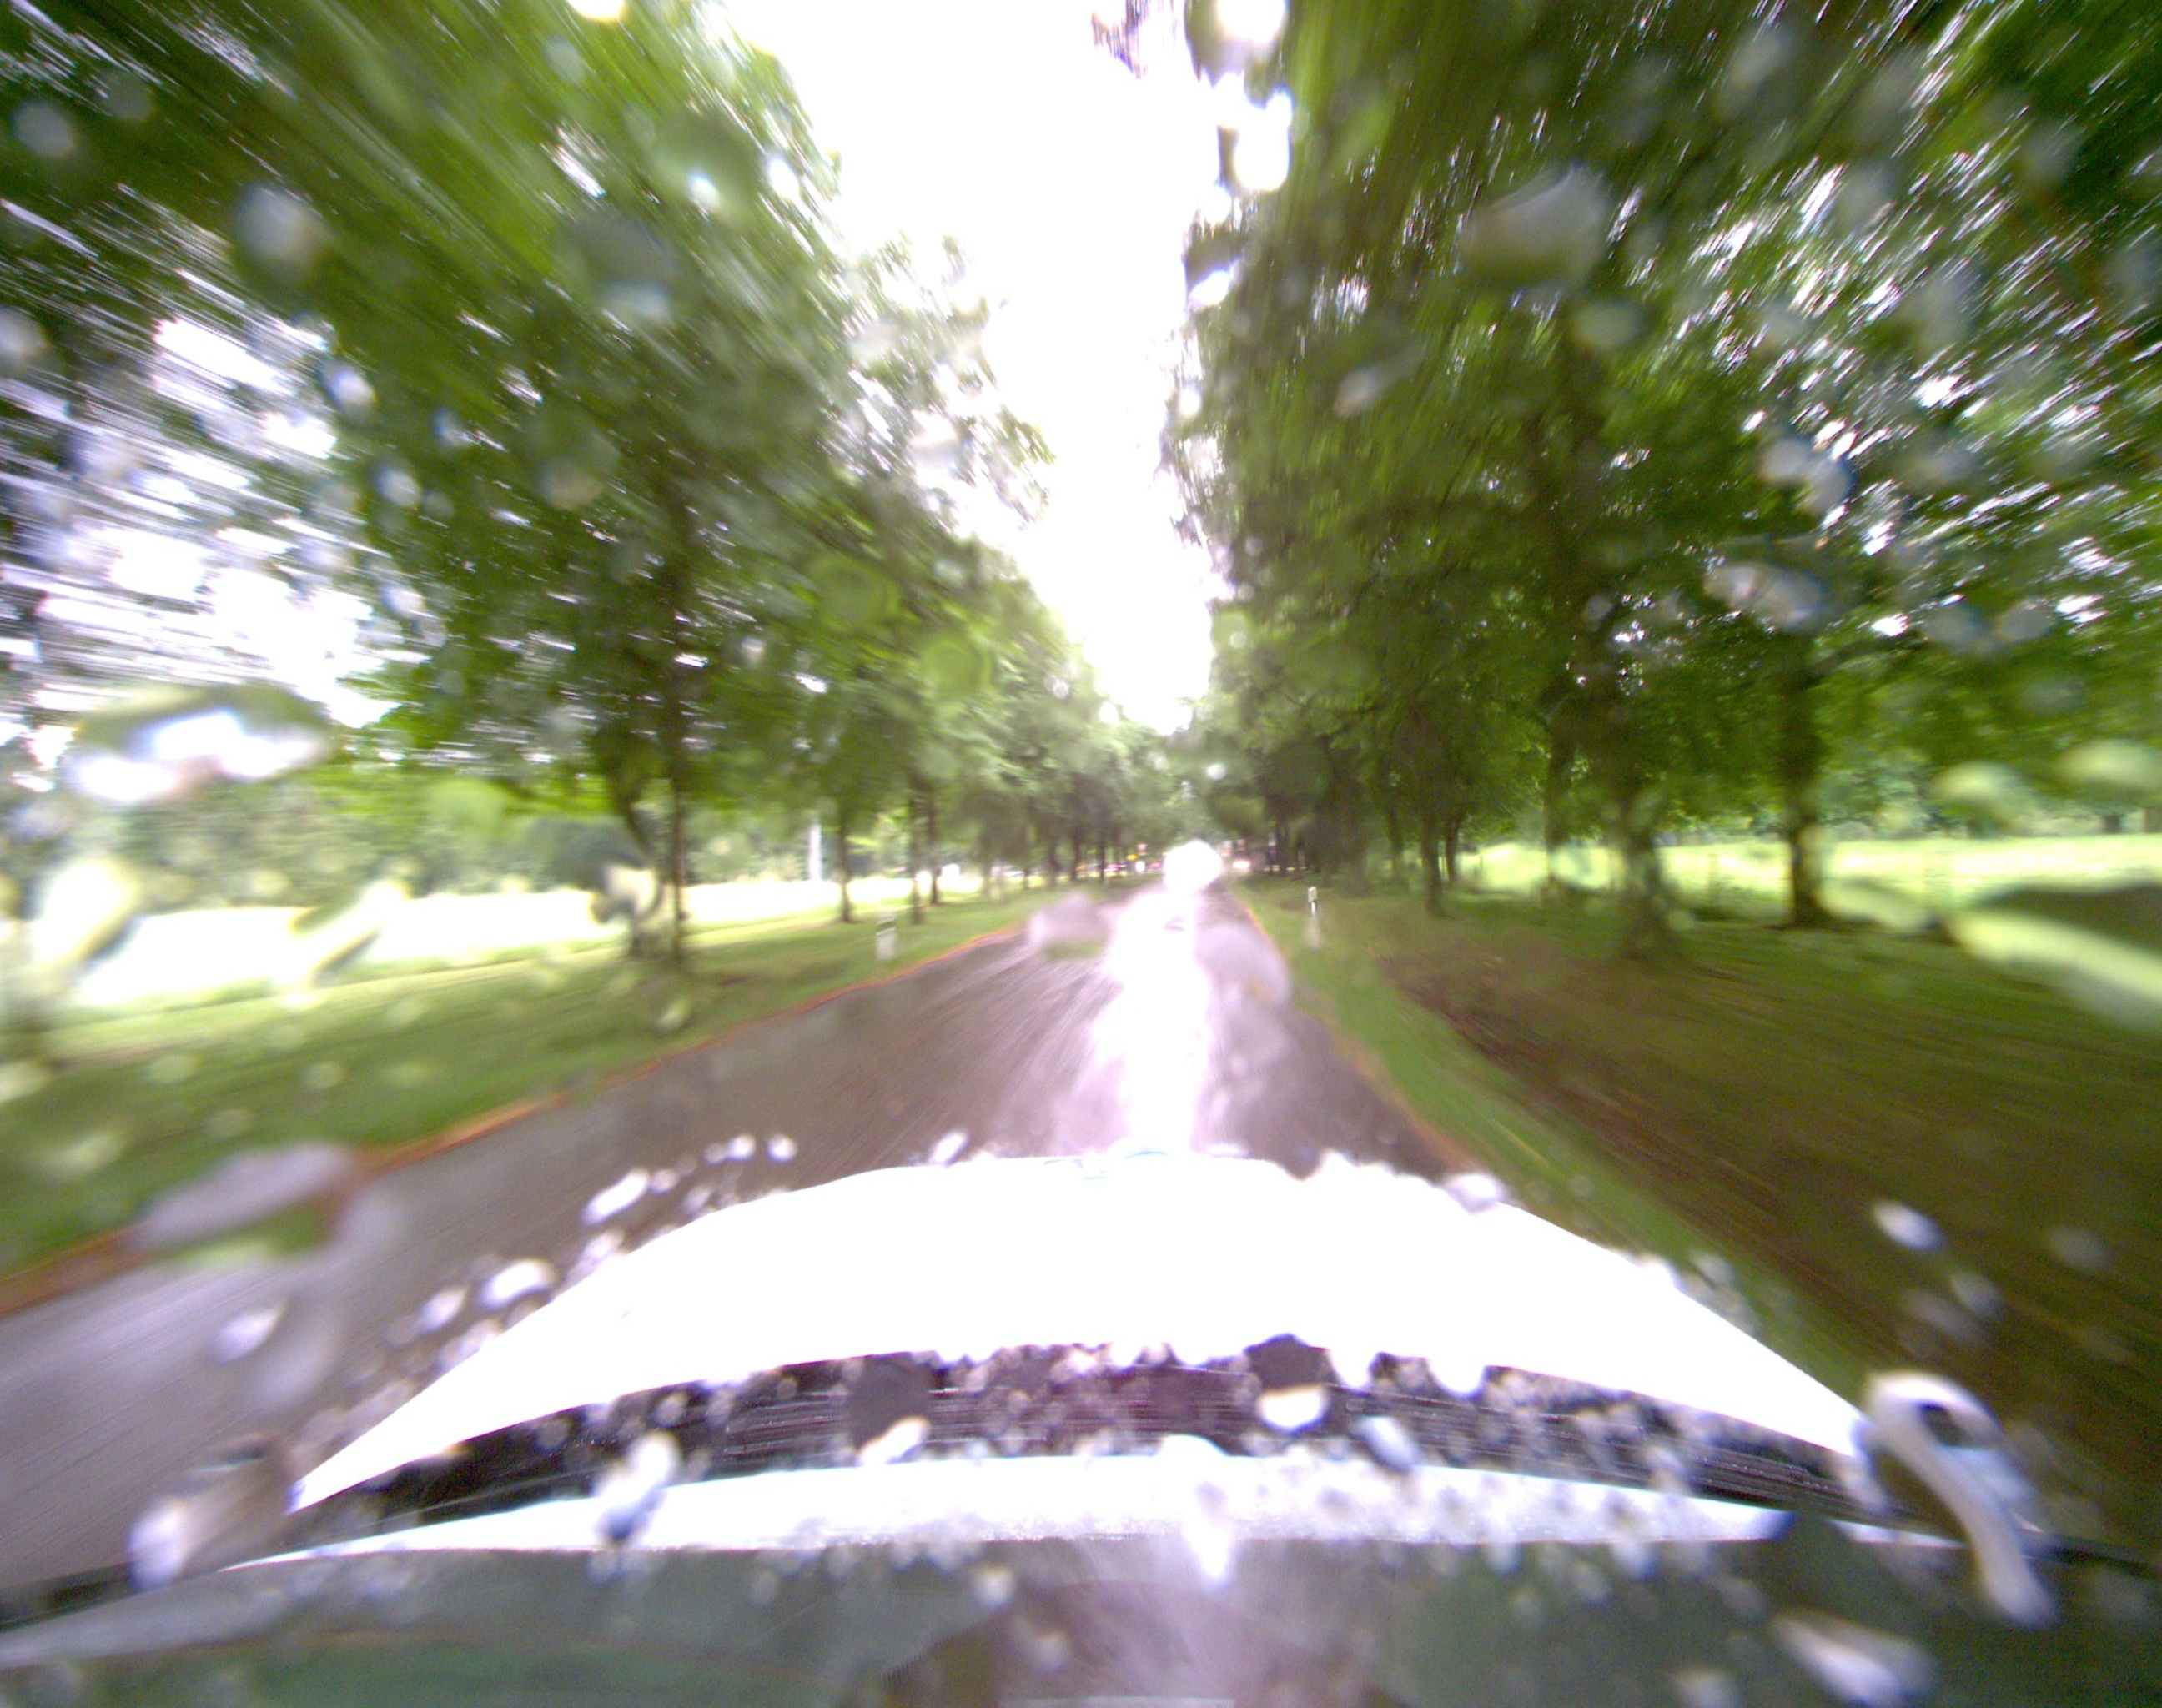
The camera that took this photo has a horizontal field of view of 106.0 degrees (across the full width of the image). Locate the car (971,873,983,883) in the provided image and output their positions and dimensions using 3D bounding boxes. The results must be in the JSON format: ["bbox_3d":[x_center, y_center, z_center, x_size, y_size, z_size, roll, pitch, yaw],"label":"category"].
[{"bbox_3d":[-16.840,3.884,132.012,1.763,1.429,4.093,-2,-1,-9],"label":"car"}]

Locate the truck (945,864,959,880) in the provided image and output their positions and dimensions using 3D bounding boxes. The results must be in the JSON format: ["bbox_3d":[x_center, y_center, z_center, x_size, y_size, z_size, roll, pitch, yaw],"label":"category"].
[{"bbox_3d":[-20.694,2.876,130.768,1.867,2.443,3.342,-2,-1,-6],"label":"truck"}]

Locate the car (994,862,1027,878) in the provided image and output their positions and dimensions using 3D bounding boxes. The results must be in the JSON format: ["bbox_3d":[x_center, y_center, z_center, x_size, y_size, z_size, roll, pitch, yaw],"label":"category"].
[{"bbox_3d":[-11.774,2.731,135.655,2.404,2.408,5.913,1,-4,-40],"label":"car"}]

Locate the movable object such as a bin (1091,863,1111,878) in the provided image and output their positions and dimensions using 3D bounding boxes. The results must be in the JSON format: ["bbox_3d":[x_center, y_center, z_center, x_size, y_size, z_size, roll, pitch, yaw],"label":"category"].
[{"bbox_3d":[4.655,3.796,190.163,4.570,3.294,3.663,-2,-2,-2],"label":"movable object such as a bin"}]
